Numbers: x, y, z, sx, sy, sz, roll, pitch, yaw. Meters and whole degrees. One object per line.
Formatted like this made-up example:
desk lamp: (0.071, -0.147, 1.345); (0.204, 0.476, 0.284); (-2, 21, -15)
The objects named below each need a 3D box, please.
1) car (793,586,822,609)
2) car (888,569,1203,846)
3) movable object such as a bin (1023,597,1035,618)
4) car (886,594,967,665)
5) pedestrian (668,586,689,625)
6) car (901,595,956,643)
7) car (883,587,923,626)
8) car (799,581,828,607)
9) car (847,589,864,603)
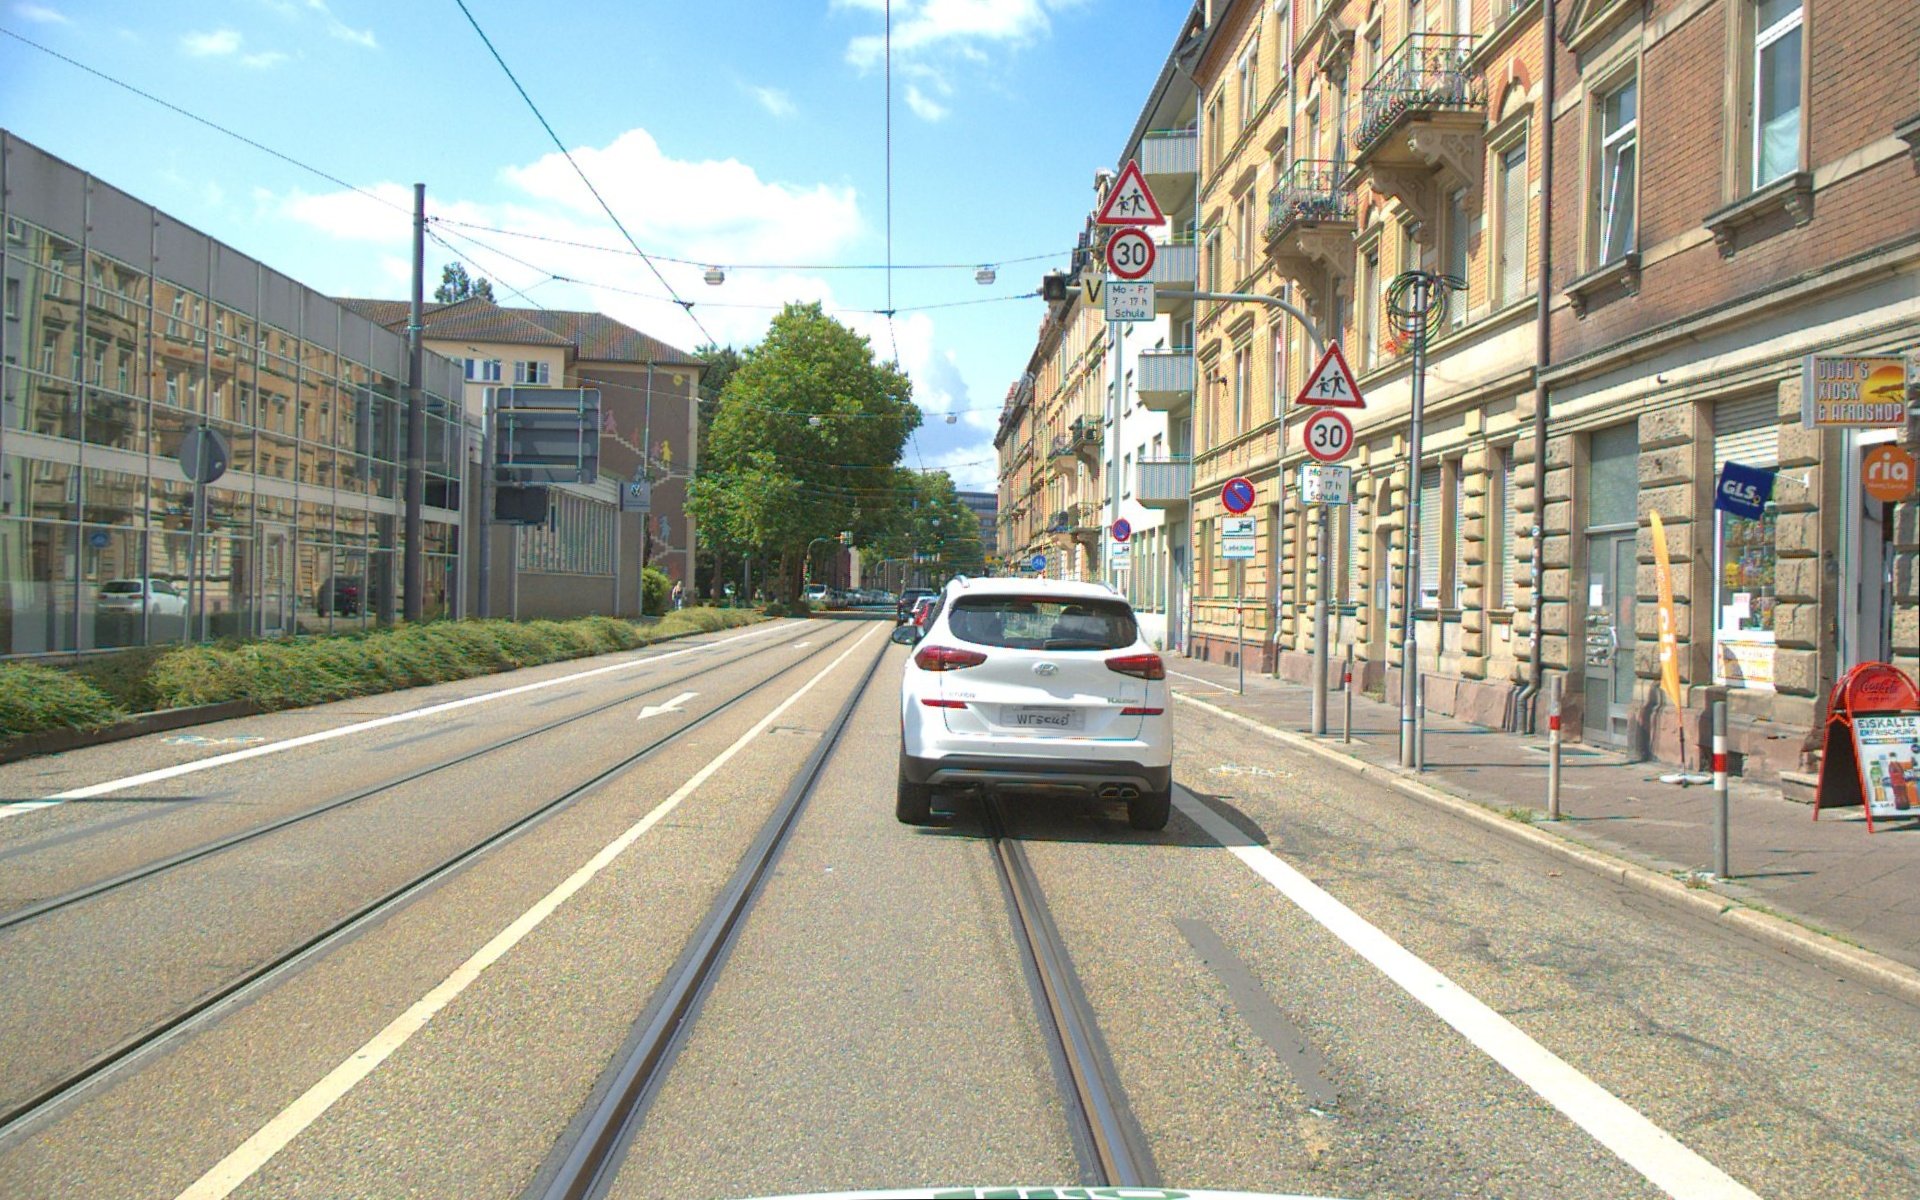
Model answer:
car: (-11.454, -0.214, 124.480); (1.911, 1.660, 4.574); (2, 0, -2)
car: (0.446, 0.658, 12.336); (1.816, 1.662, 4.177); (2, 0, -4)
movable object such as a bin: (3.941, 0.423, 94.845); (0.600, 1.163, 0.638); (2, 0, -2)
car: (-0.769, 0.643, 38.609); (1.777, 1.551, 4.084); (1, 0, -1)
pedestrian: (-14.076, 0.274, 82.762); (0.862, 1.898, 1.080); (0, 0, -1)
car: (-1.083, 0.609, 56.450); (1.778, 1.551, 3.954); (1, 0, -2)
car: (-2.597, 0.270, 75.835); (1.778, 1.691, 4.084); (1, 0, -2)
car: (-11.509, -0.499, 130.265); (1.911, 1.928, 4.564); (2, 0, -2)
car: (-12.258, -0.474, 194.418); (1.911, 1.660, 3.997); (2, 0, -4)
